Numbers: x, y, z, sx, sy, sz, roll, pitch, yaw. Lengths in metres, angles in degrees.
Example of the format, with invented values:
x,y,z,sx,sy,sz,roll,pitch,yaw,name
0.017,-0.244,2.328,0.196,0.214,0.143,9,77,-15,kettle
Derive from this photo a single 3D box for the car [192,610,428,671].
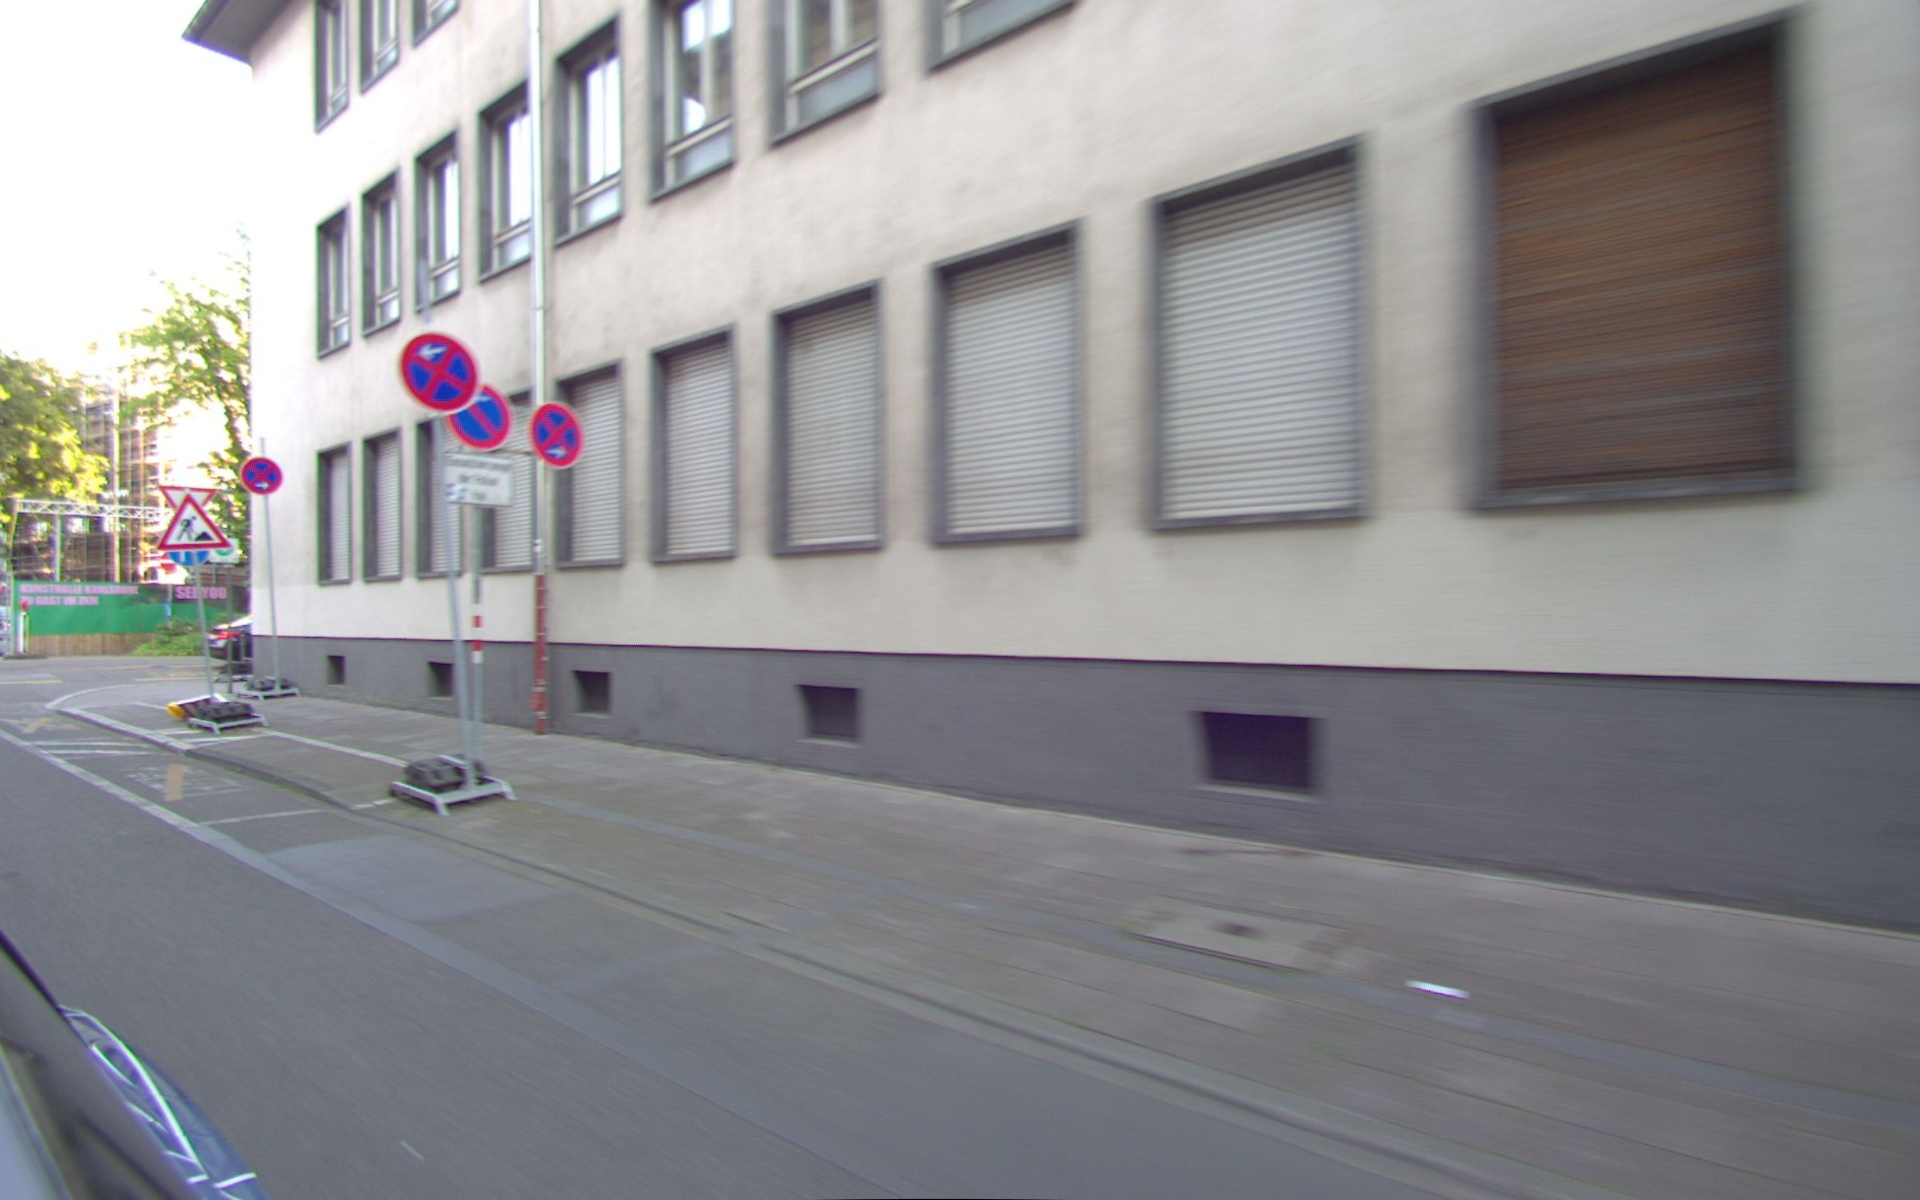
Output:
x,y,z,sx,sy,sz,roll,pitch,yaw,name
-16.571,0.973,26.014,2.000,1.394,4.764,-1,-1,42,car
